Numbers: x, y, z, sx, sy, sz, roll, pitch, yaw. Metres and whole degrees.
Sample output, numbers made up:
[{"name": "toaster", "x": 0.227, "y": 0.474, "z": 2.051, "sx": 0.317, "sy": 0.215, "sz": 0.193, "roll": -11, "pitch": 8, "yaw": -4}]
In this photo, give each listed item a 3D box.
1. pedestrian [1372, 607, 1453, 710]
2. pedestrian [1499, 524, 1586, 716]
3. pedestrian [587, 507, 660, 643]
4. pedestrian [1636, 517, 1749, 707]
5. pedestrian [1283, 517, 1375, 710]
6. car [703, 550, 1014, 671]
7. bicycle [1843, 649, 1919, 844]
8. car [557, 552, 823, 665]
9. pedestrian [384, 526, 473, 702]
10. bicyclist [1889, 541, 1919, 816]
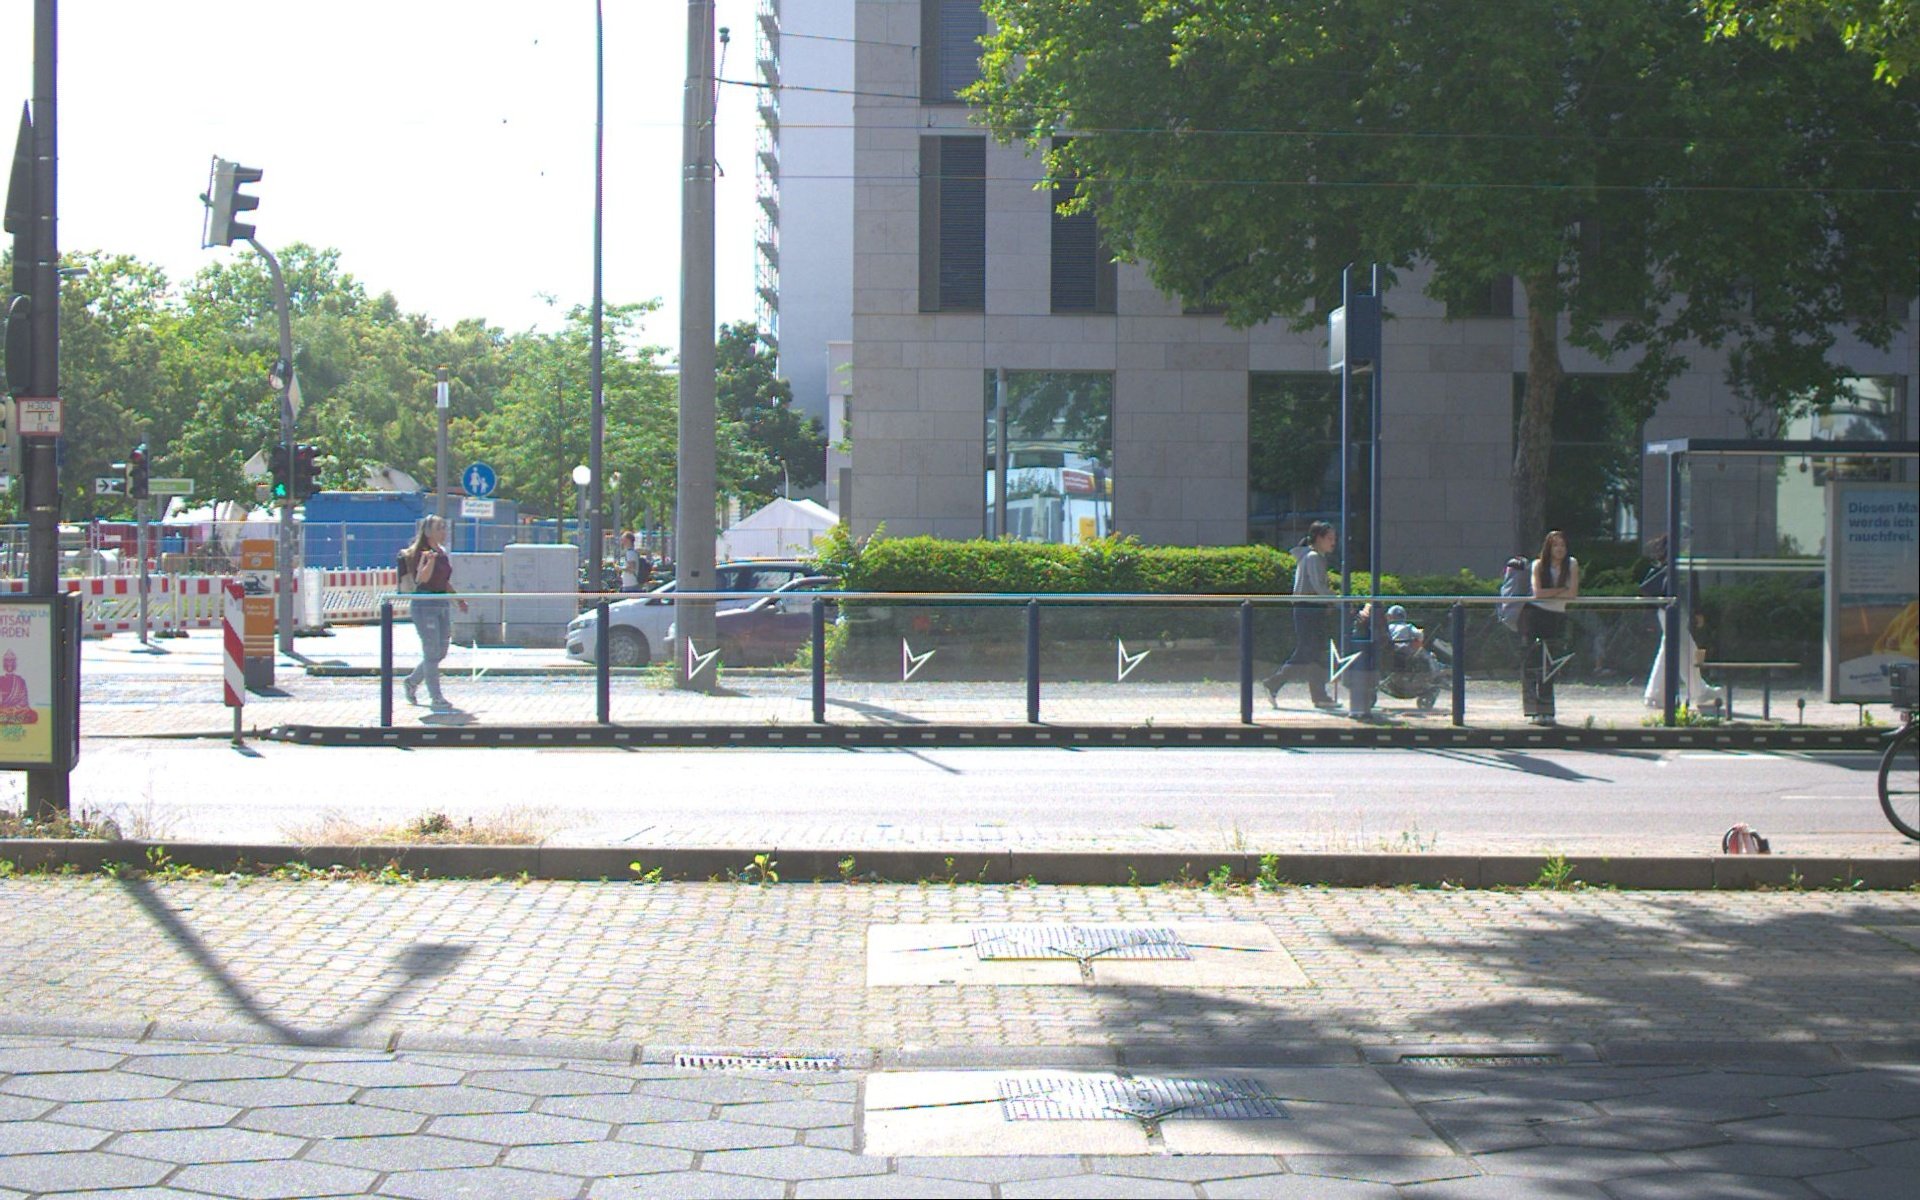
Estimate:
[{"name": "pedestrian", "x": 3.975, "y": 0.511, "z": 30.167, "sx": 0.691, "sy": 0.877, "sz": 0.503, "roll": 1, "pitch": 1, "yaw": 8}, {"name": "pedestrian", "x": 4.915, "y": 0.164, "z": 29.039, "sx": 0.584, "sy": 1.586, "sz": 0.670, "roll": 0, "pitch": 2, "yaw": -2}, {"name": "pedestrian", "x": -5.628, "y": -0.426, "z": 57.527, "sx": 1.108, "sy": 2.240, "sz": 1.103, "roll": 1, "pitch": 1, "yaw": -1}, {"name": "pedestrian", "x": 6.542, "y": 0.103, "z": 30.730, "sx": 0.932, "sy": 1.677, "sz": 0.503, "roll": 1, "pitch": 1, "yaw": 8}, {"name": "pedestrian", "x": 3.250, "y": 0.109, "z": 30.265, "sx": 0.777, "sy": 1.677, "sz": 0.503, "roll": 1, "pitch": 1, "yaw": 8}, {"name": "car", "x": -1.378, "y": 0.130, "z": 45.724, "sx": 3.986, "sy": 1.546, "sz": 1.703, "roll": 0, "pitch": 1, "yaw": -6}, {"name": "bicycle", "x": 6.192, "y": 0.836, "z": 19.859, "sx": 2.019, "sy": 1.078, "sz": 0.640, "roll": 0, "pitch": 1, "yaw": -10}, {"name": "car", "x": -3.838, "y": 0.112, "z": 48.666, "sx": 3.681, "sy": 1.546, "sz": 1.592, "roll": 0, "pitch": 1, "yaw": -6}, {"name": "pedestrian", "x": -4.670, "y": 0.118, "z": 30.237, "sx": 0.650, "sy": 1.535, "sz": 0.503, "roll": 1, "pitch": 1, "yaw": 8}, {"name": "bicyclist", "x": 6.060, "y": 0.453, "z": 19.839, "sx": 1.169, "sy": 1.575, "sz": 0.640, "roll": 0, "pitch": 1, "yaw": -10}]
